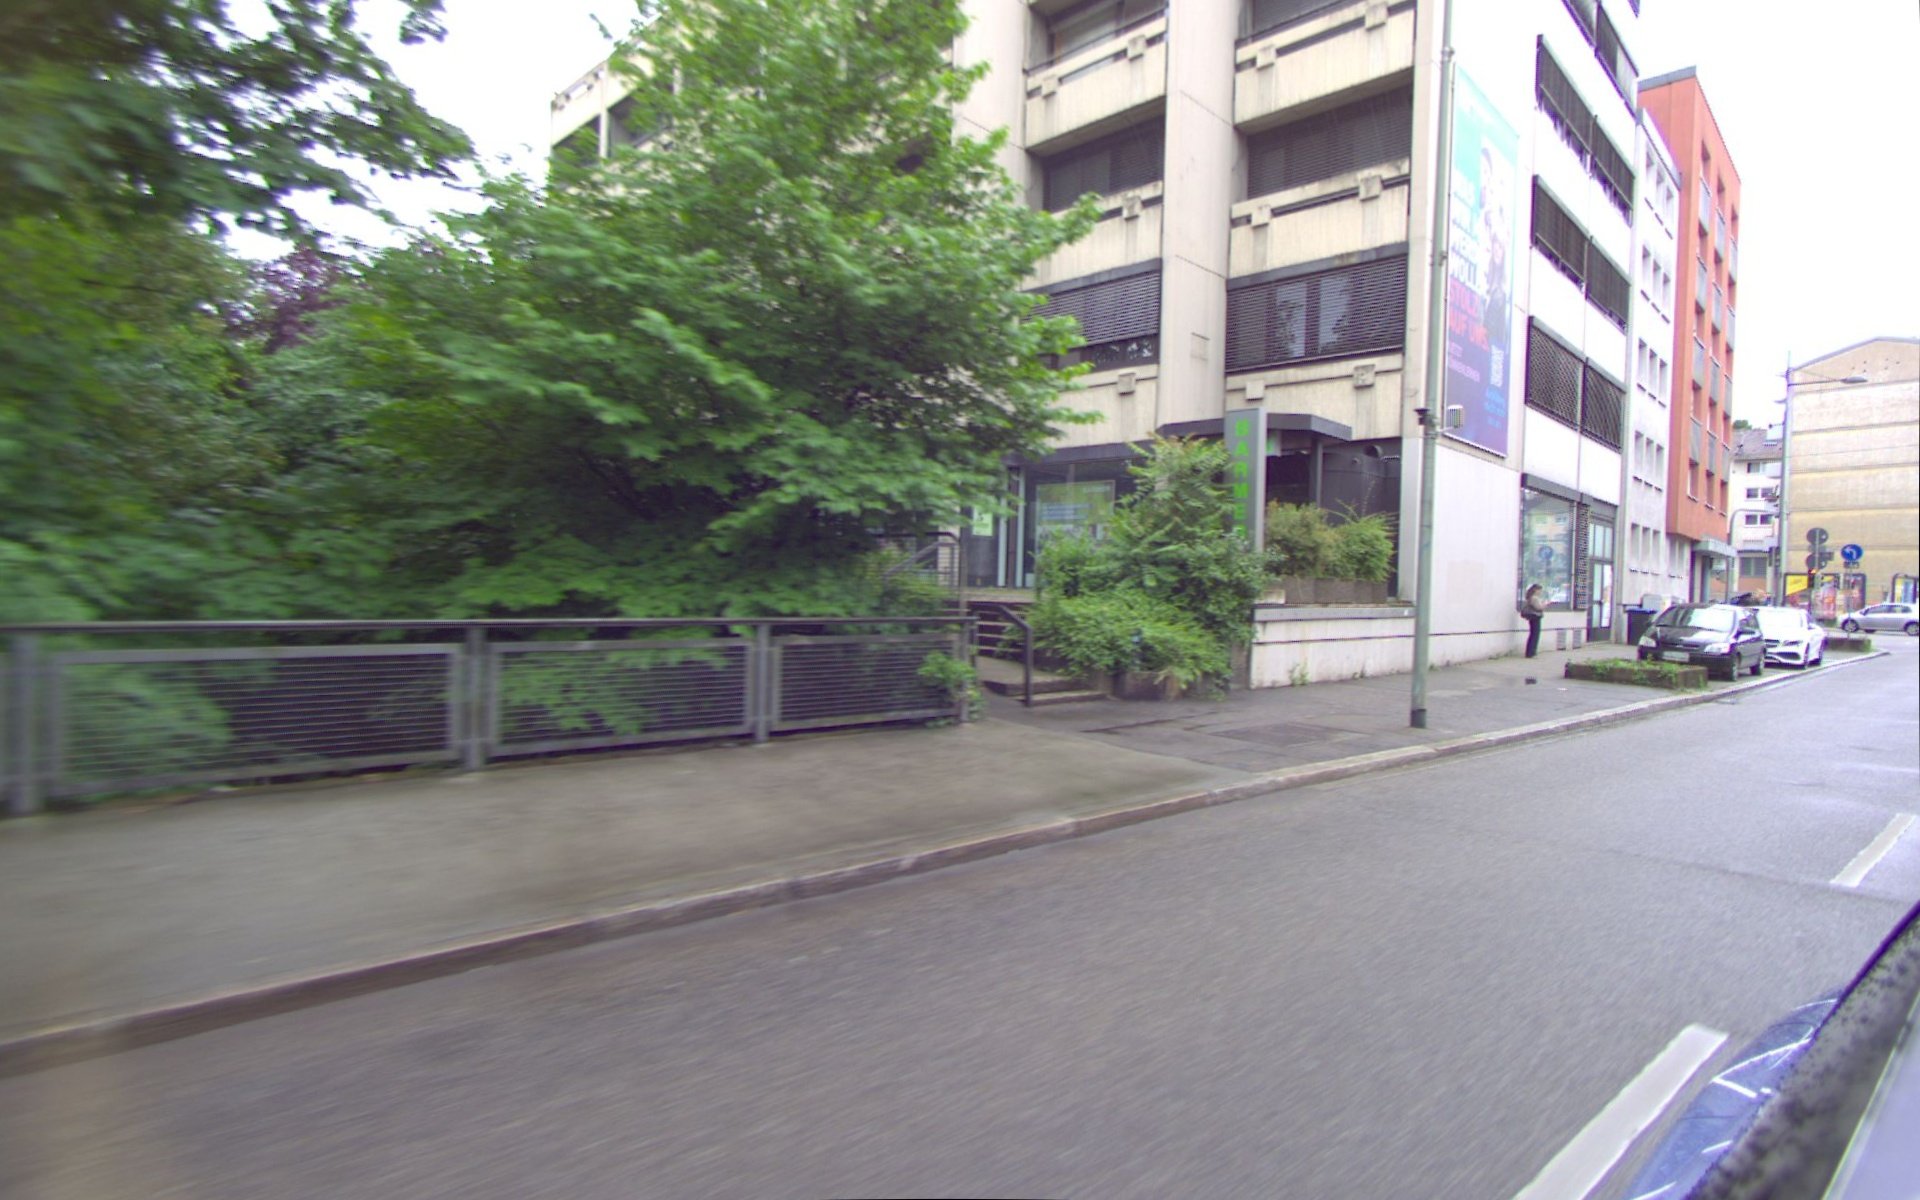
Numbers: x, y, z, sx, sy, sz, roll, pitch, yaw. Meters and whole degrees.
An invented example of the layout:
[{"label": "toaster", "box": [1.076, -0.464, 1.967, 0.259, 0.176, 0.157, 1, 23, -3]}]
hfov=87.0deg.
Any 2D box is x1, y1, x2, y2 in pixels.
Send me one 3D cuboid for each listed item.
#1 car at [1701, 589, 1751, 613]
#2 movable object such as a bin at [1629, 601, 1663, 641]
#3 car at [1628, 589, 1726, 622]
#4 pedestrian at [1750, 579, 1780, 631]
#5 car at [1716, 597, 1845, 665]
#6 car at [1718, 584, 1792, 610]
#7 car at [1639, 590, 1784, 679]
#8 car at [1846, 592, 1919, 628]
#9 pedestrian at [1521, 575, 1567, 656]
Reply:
[{"label": "car", "box": [50.951, 0.076, 67.276, 3.672, 1.474, 1.738, 0, 1, -38]}, {"label": "movable object such as a bin", "box": [19.811, 0.599, 29.225, 0.505, 1.117, 0.680, 1, 1, -43]}, {"label": "car", "box": [38.865, 0.285, 54.919, 1.802, 1.641, 3.999, 1, 1, -37]}, {"label": "pedestrian", "box": [34.370, 0.210, 43.210, 0.797, 2.180, 0.732, 2, 1, 25]}, {"label": "car", "box": [20.321, 0.716, 25.011, 4.493, 1.437, 1.833, 0, 3, -43]}, {"label": "car", "box": [57.733, -0.219, 73.542, 1.801, 1.732, 3.800, 1, 1, -22]}, {"label": "car", "box": [15.548, 0.650, 20.874, 3.741, 1.577, 1.705, 0, 3, -43]}, {"label": "car", "box": [45.656, 0.487, 48.819, 1.798, 1.641, 4.009, 1, 1, -19]}, {"label": "pedestrian", "box": [12.606, 0.328, 21.841, 0.598, 1.679, 0.681, 6, 4, 42]}]
